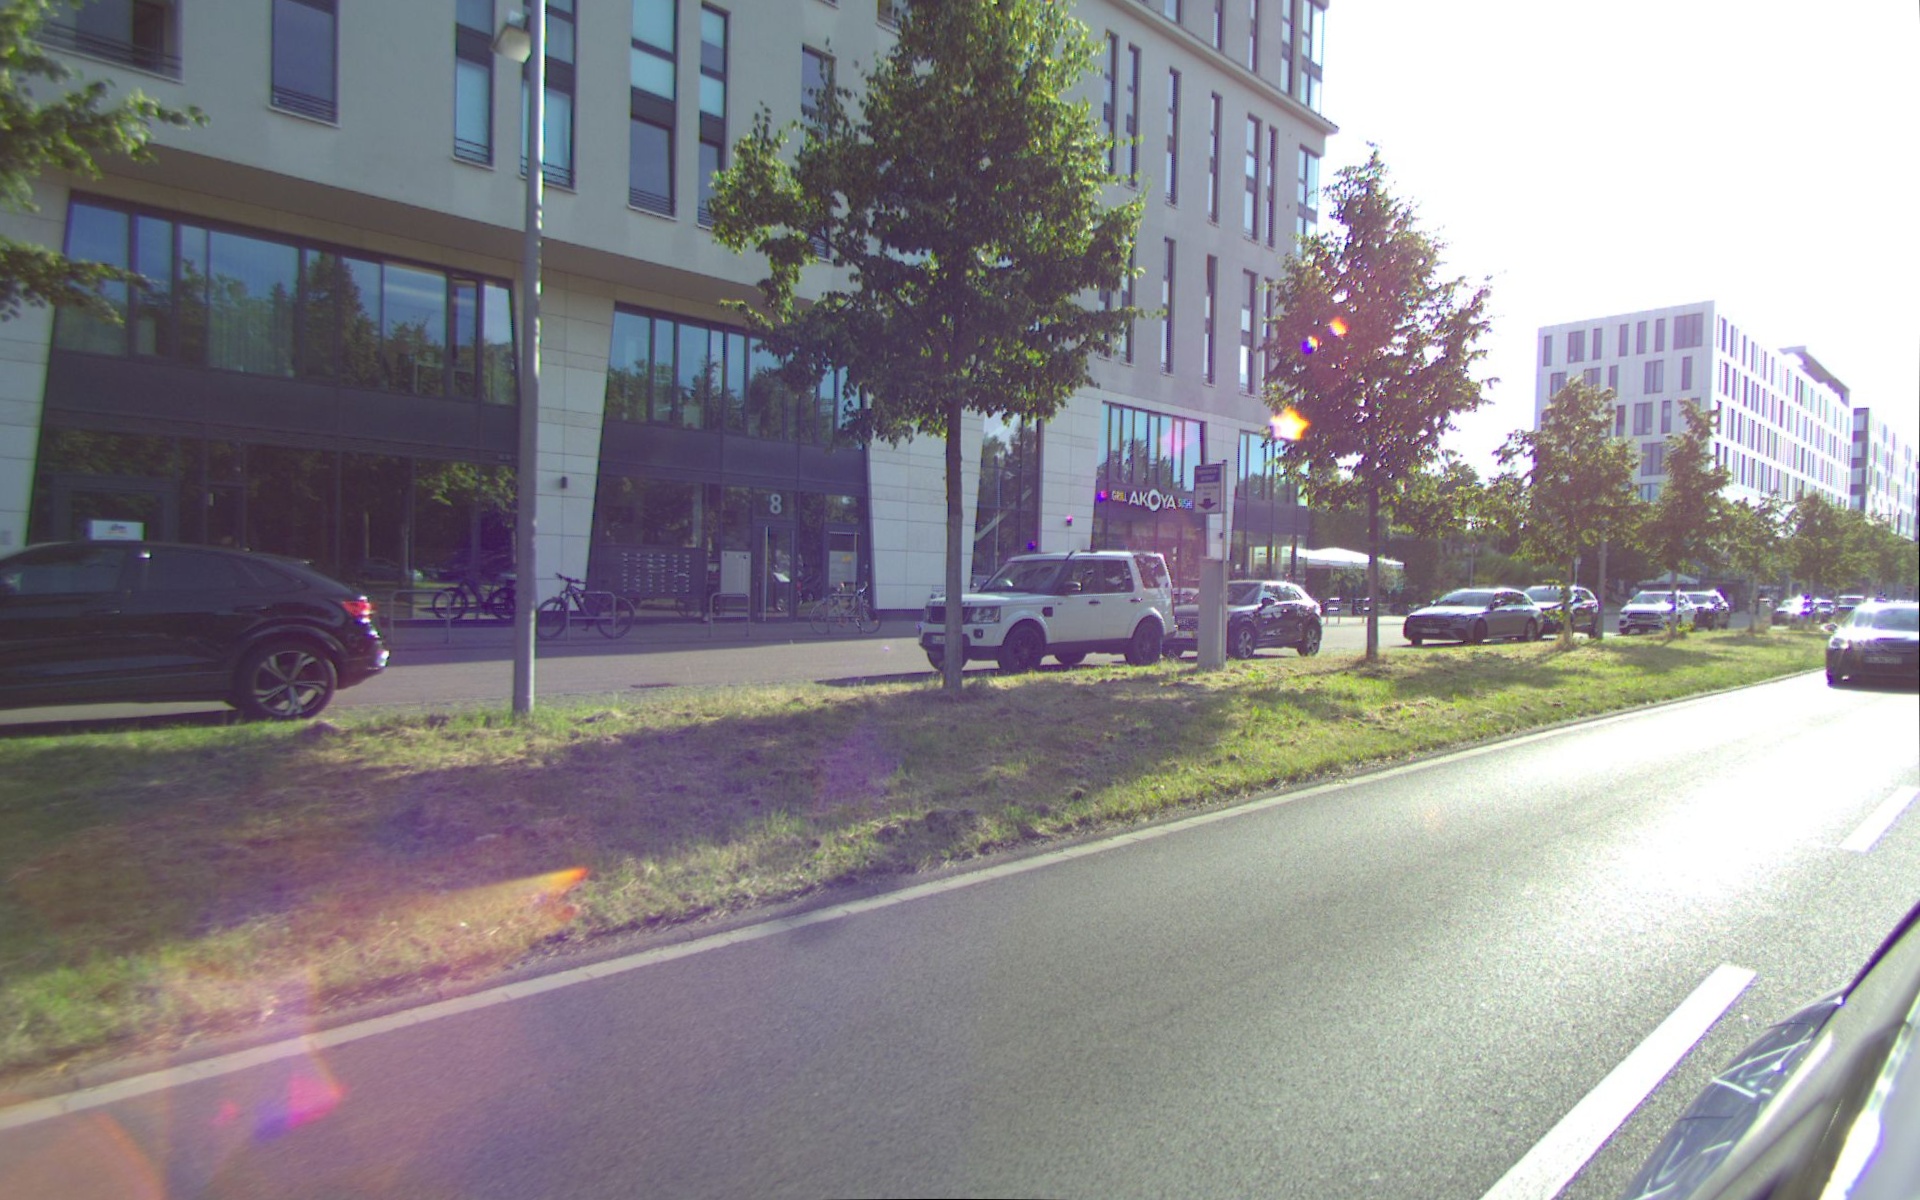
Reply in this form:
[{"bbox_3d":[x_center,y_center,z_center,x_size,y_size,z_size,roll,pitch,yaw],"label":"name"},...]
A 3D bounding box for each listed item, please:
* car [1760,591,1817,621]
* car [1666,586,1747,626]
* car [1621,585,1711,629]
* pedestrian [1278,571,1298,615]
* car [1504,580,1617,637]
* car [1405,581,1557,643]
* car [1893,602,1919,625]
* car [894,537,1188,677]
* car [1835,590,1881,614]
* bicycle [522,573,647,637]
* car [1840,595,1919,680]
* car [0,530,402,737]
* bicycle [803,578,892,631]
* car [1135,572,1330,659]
[{"bbox_3d":[46.282,0.312,56.489,4.254,1.549,1.838,-1,1,-42],"label":"car"},{"bbox_3d":[30.797,0.219,41.703,4.254,1.549,1.838,-1,1,-42],"label":"car"},{"bbox_3d":[26.501,0.234,37.937,4.254,1.549,1.838,-1,1,-42],"label":"car"},{"bbox_3d":[12.303,-0.275,37.997,0.563,1.621,0.499,0,0,-41],"label":"pedestrian"},{"bbox_3d":[18.347,0.205,30.842,4.254,1.618,1.762,-1,1,-42],"label":"car"},{"bbox_3d":[13.917,0.258,26.926,4.829,1.507,1.764,-1,0,-38],"label":"car"},{"bbox_3d":[80.802,1.111,86.100,3.826,1.810,1.739,-1,0,-42],"label":"car"},{"bbox_3d":[1.407,0.058,16.037,4.761,1.898,1.897,-1,0,-42],"label":"car"},{"bbox_3d":[60.447,0.099,68.134,4.254,1.549,1.838,-1,1,-42],"label":"car"},{"bbox_3d":[-6.736,0.074,18.230,2.041,1.083,0.512,-1,3,-41],"label":"bicycle"},{"bbox_3d":[17.990,0.650,19.044,3.970,1.442,1.696,-1,1,-42],"label":"car"},{"bbox_3d":[-7.314,0.236,8.420,1.868,1.510,4.345,0,1,44],"label":"car"},{"bbox_3d":[-2.422,0.082,21.891,1.949,1.083,0.512,-1,3,-41],"label":"bicycle"},{"bbox_3d":[5.345,0.240,19.570,4.141,1.507,1.761,-1,1,-44],"label":"car"}]
